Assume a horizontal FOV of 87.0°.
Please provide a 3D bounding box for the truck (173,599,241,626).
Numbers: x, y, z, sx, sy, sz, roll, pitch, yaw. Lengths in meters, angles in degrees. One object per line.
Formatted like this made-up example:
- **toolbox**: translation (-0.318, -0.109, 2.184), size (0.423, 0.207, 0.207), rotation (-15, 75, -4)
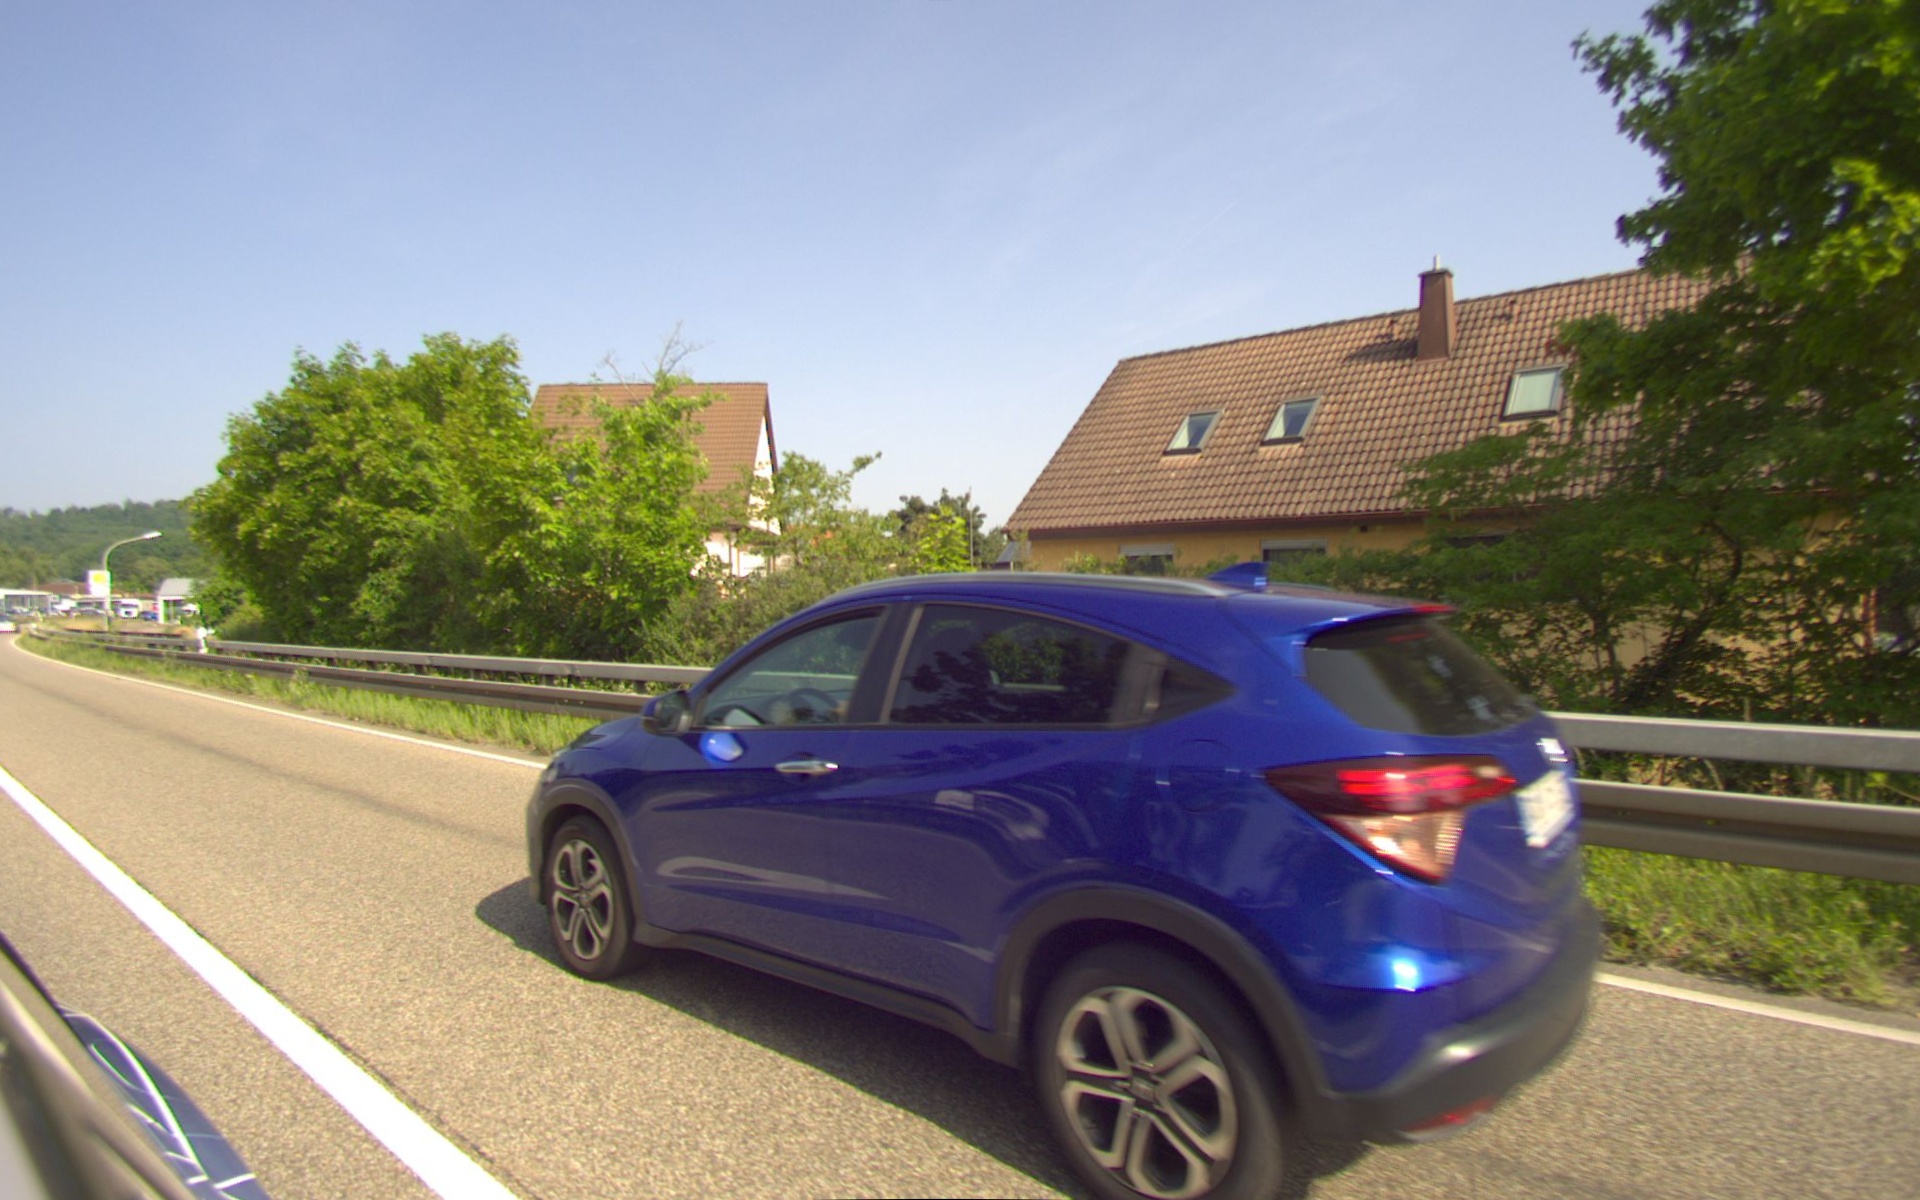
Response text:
- **truck**: translation (-104.430, 1.680, 140.512), size (2.771, 3.583, 8.199), rotation (-1, 0, 5)

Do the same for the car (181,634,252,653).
- **car**: translation (-61.756, 3.599, 84.079), size (1.744, 1.392, 4.563), rotation (-1, 0, 44)

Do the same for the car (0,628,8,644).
- **car**: translation (-87.657, 3.251, 91.845), size (3.991, 1.421, 1.738), rotation (-1, -2, 45)

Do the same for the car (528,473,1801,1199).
- **car**: translation (0.334, 0.620, 3.533), size (3.990, 1.572, 1.789), rotation (0, -1, 40)
